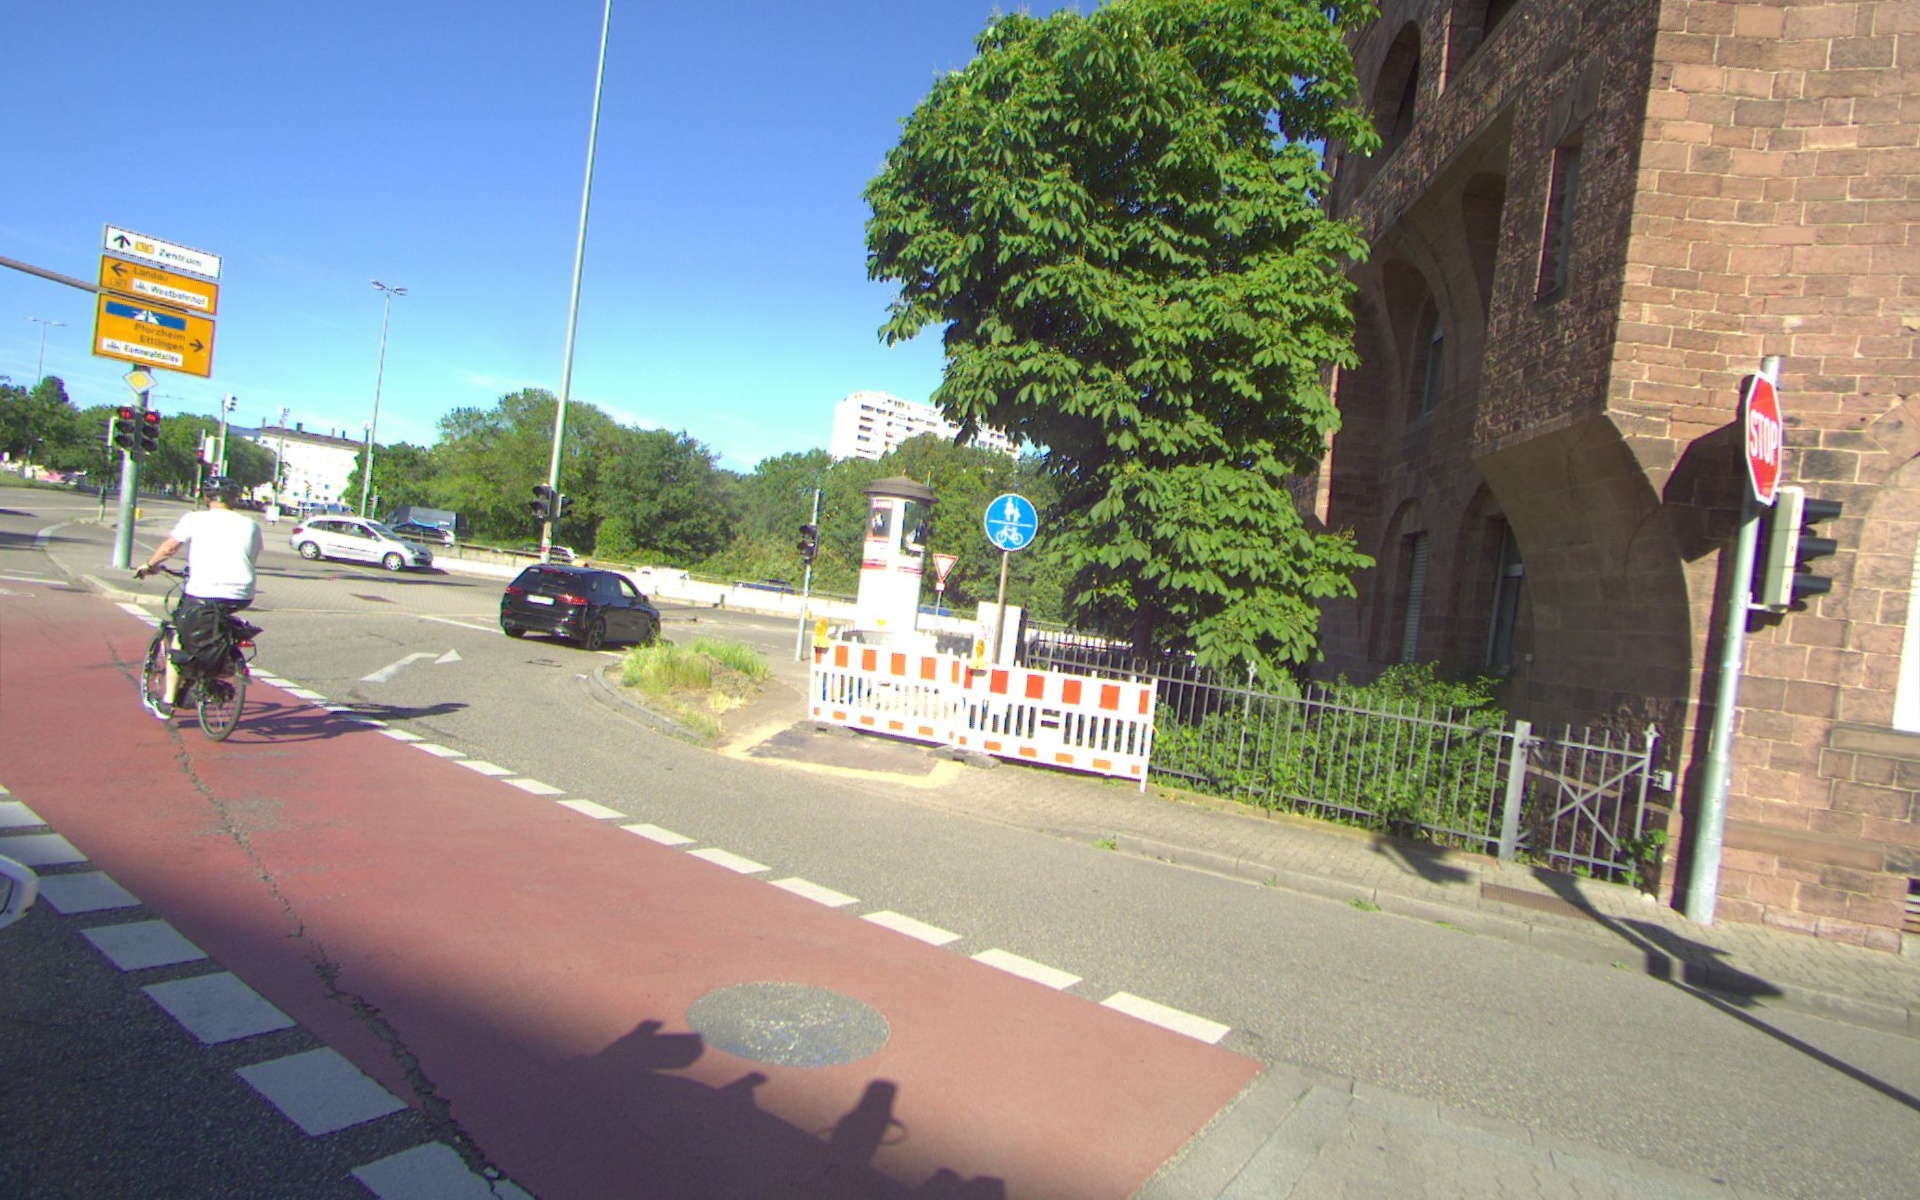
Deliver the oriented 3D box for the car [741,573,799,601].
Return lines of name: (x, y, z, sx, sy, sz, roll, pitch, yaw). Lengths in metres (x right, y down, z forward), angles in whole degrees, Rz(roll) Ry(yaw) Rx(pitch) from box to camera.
car: (-14.638, -0.978, 77.422, 3.946, 1.681, 1.991, 7, -2, -22)

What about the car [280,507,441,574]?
car: (-19.602, -1.900, 33.047, 4.033, 1.602, 1.823, 7, 1, -8)

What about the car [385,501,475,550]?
car: (-37.047, -5.190, 70.440, 4.799, 2.638, 2.261, 6, -1, -6)

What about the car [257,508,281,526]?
car: (-87.961, -10.568, 128.119, 1.977, 1.815, 3.974, 7, -2, -28)

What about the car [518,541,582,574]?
car: (-29.216, -3.012, 71.768, 3.942, 1.770, 1.993, 7, -2, -19)

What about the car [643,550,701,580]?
car: (-21.303, -2.580, 74.351, 3.942, 1.703, 1.850, 7, -2, -19)

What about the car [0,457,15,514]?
car: (-34.298, -4.088, 33.571, 4.277, 1.857, 2.002, 5, -2, 16)

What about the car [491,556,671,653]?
car: (-7.509, 0.152, 20.393, 1.724, 1.511, 4.003, 9, -1, 4)

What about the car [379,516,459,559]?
car: (-33.759, -3.853, 62.898, 3.942, 2.037, 1.993, 7, -2, -19)

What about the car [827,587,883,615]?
car: (-8.306, 0.090, 79.495, 3.944, 1.681, 1.992, 7, -2, -21)

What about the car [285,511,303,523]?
car: (-107.468, -13.428, 162.346, 1.977, 1.660, 3.969, 6, 1, -29)

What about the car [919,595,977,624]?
car: (-1.008, 0.774, 82.347, 4.200, 1.876, 2.011, 7, -1, -20)

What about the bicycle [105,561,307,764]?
bicycle: (-5.473, 0.389, 7.226, 0.797, 1.124, 2.372, 8, -1, -43)

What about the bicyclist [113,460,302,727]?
bicyclist: (-5.408, -0.049, 7.220, 0.797, 1.725, 1.072, 8, -1, -44)
